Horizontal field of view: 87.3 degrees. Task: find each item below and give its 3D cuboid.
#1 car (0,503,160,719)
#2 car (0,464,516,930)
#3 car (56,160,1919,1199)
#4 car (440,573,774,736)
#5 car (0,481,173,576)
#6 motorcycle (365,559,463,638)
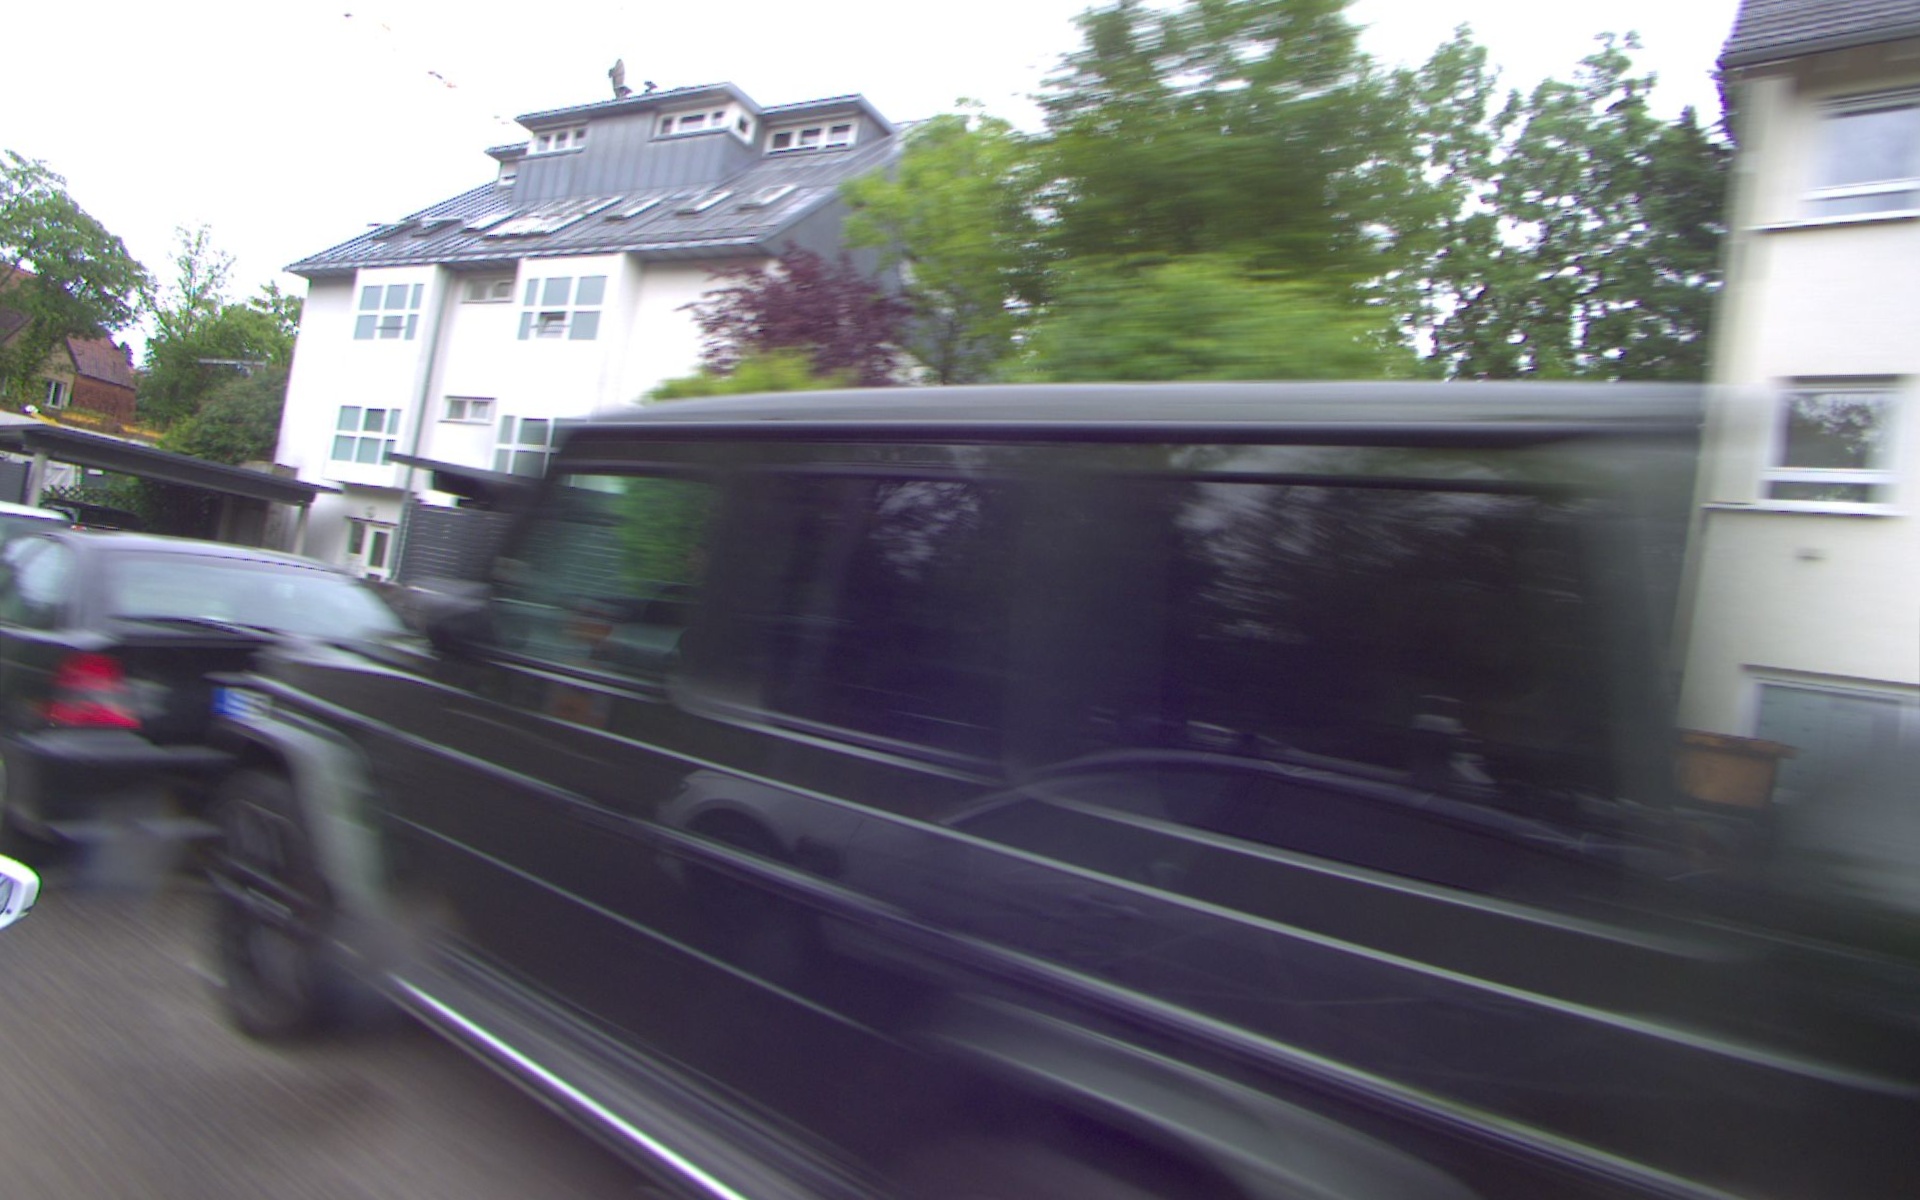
[{"bbox_3d":[-7.934,-0.072,7.778,3.331,1.474,1.675,6,-2,33],"label":"car"},{"bbox_3d":[-4.551,0.238,5.443,4.327,1.615,1.932,6,-1,36],"label":"car"},{"bbox_3d":[-0.307,0.518,2.815,4.876,2.038,1.995,6,0,33],"label":"car"},{"bbox_3d":[-4.510,0.666,12.746,3.933,1.411,1.740,7,-4,31],"label":"car"},{"bbox_3d":[-18.861,-1.562,21.617,3.935,1.487,1.701,6,-5,33],"label":"car"},{"bbox_3d":[-11.957,-0.043,22.004,2.009,1.468,0.797,7,-2,30],"label":"motorcycle"}]
